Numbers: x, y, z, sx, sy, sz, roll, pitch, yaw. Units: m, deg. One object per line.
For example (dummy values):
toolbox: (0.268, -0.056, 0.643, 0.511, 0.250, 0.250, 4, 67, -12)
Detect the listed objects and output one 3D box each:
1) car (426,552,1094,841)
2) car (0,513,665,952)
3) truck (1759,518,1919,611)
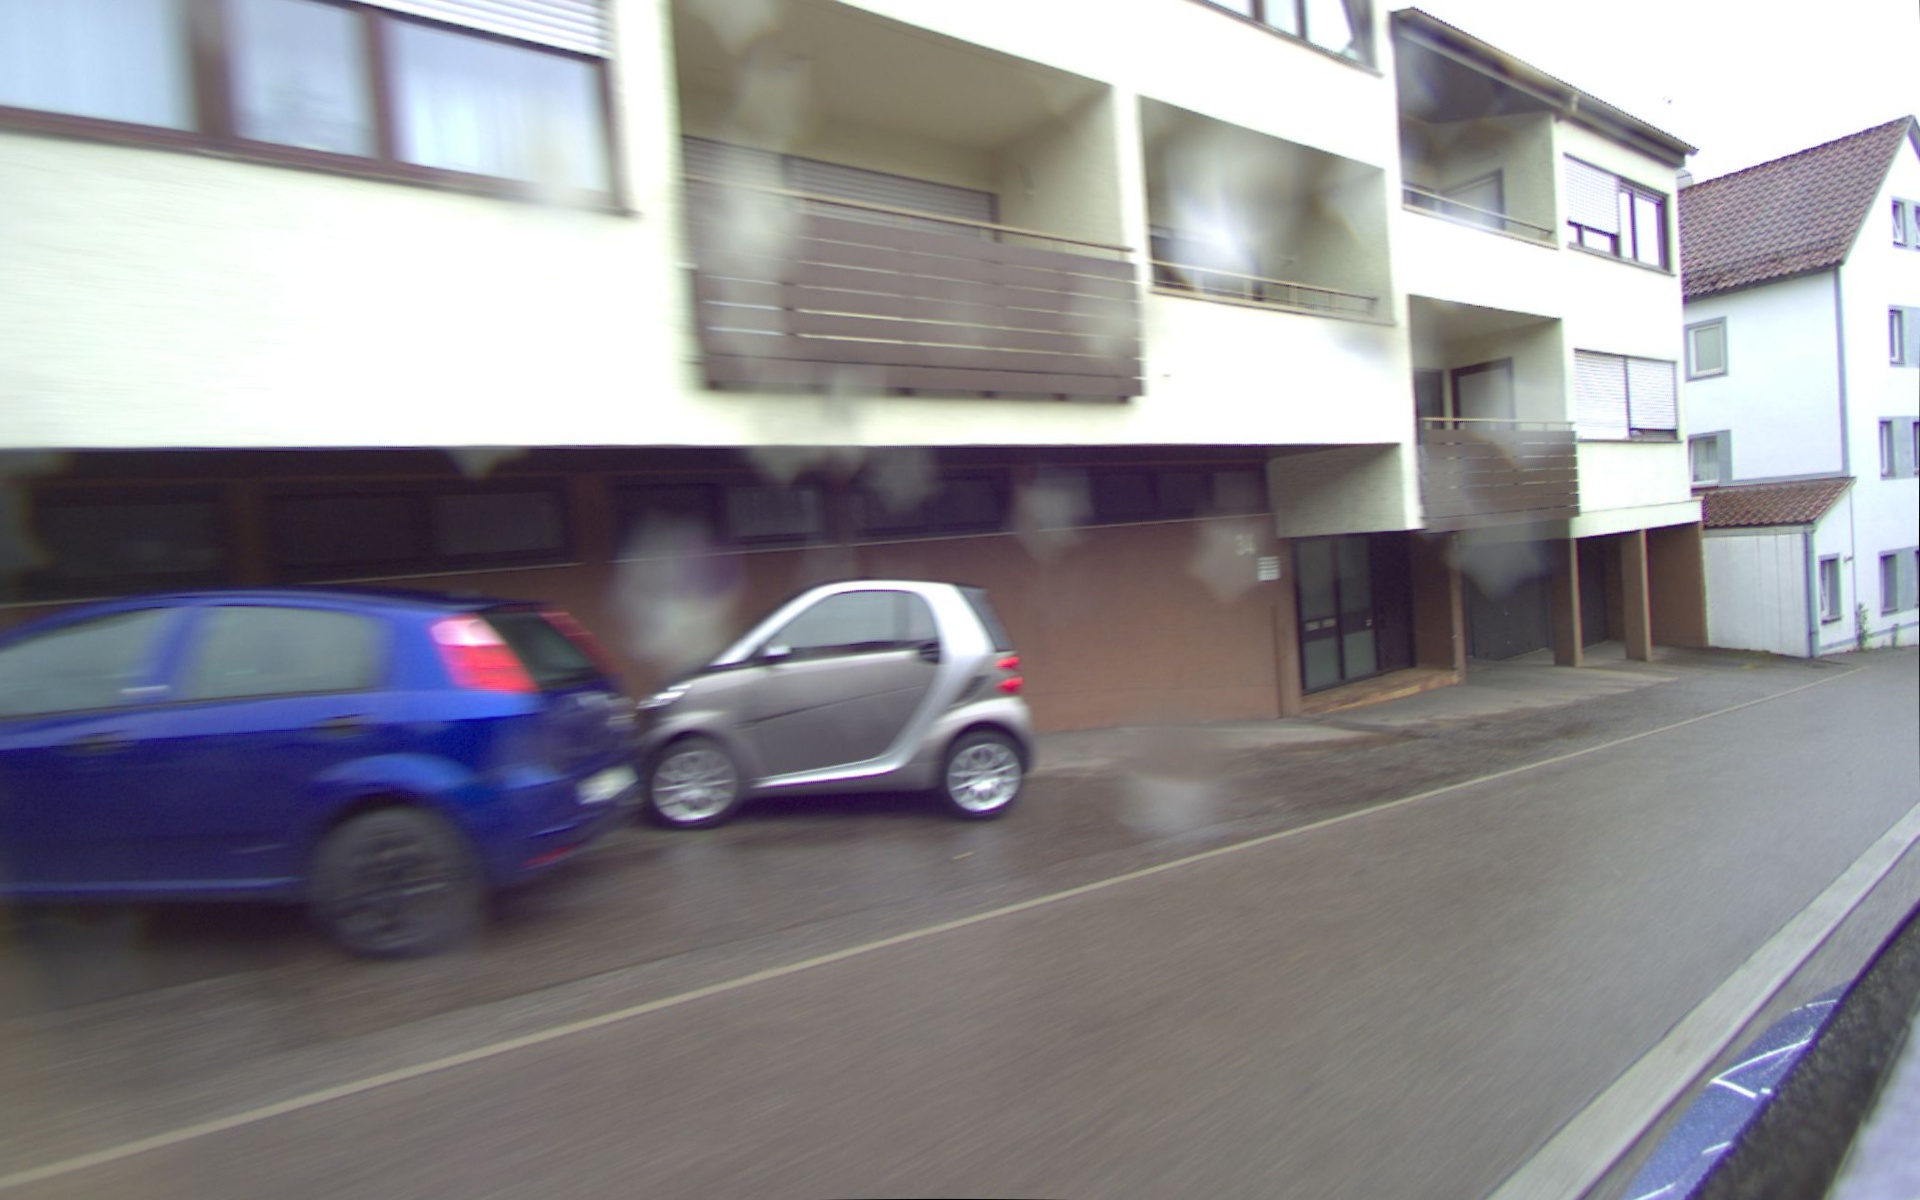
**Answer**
car: (-1.287, 0.558, 7.061, 3.982, 1.599, 1.790, -1, -2, -12)
car: (-3.618, 0.542, 4.702, 3.988, 1.599, 1.787, -1, -2, -1)
truck: (29.814, -1.114, 31.839, 2.096, 2.734, 6.998, -1, 5, -25)
